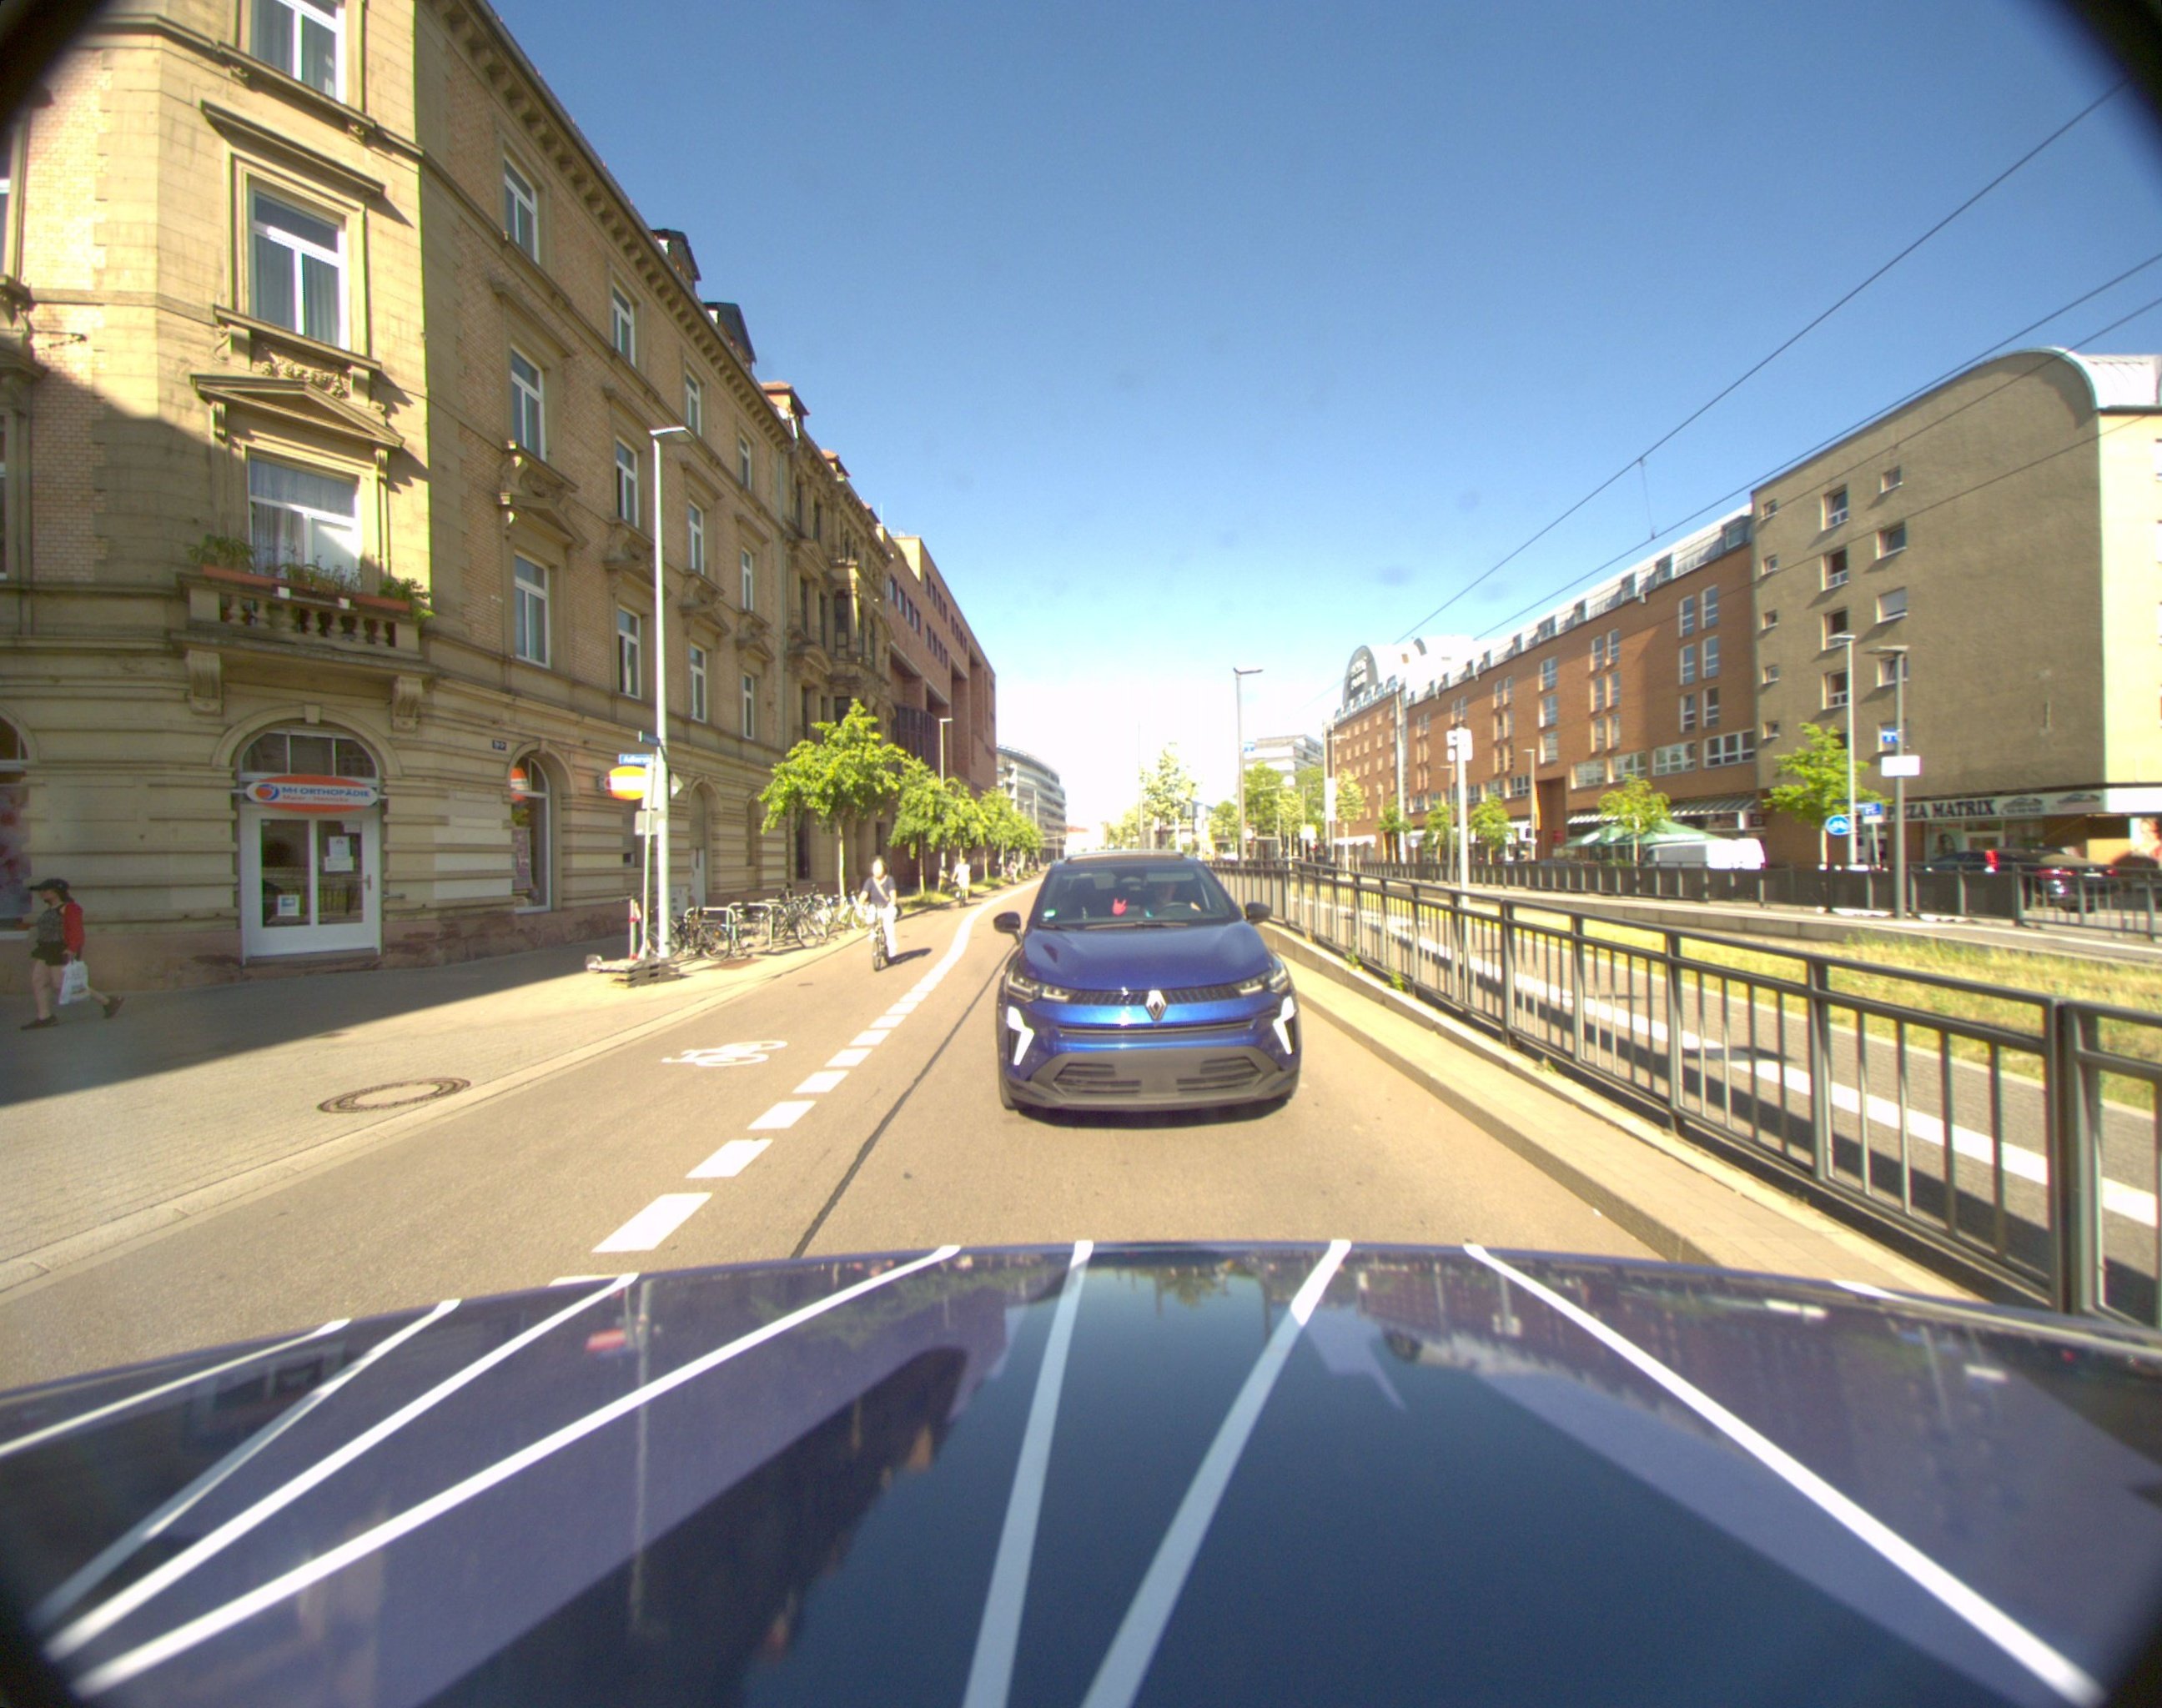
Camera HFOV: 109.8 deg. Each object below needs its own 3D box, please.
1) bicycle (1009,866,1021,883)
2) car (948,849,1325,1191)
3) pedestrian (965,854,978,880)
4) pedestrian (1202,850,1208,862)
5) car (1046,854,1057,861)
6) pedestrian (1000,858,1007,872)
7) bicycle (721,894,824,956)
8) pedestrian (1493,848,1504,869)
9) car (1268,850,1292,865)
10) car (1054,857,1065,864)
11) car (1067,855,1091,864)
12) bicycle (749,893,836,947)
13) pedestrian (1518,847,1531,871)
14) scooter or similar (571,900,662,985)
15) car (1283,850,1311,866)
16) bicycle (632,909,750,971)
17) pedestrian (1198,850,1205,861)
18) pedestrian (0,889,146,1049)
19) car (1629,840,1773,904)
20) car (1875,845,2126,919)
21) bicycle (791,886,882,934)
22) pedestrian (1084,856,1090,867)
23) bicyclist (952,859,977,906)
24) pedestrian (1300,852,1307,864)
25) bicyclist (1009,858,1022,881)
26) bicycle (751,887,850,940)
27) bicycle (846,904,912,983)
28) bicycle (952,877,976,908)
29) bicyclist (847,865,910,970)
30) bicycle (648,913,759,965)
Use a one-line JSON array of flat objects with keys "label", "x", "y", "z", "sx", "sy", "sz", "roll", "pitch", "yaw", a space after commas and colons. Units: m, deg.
[{"label": "bicycle", "x": -4.678, "y": 1.460, "z": 53.959, "sx": 0.578, "sy": 1.090, "sz": 1.507, "roll": -3, "pitch": 0, "yaw": 3}, {"label": "car", "x": 0.305, "y": 0.816, "z": 5.758, "sx": 1.802, "sy": 1.596, "sz": 3.999, "roll": -2, "pitch": 1, "yaw": 1}, {"label": "pedestrian", "x": -8.044, "y": 0.965, "z": 55.980, "sx": 0.790, "sy": 1.872, "sz": 1.106, "roll": -1, "pitch": 1, "yaw": 0}, {"label": "pedestrian", "x": 17.308, "y": 0.252, "z": 105.957, "sx": 0.608, "sy": 1.560, "sz": 0.910, "roll": -3, "pitch": 0, "yaw": 22}, {"label": "car", "x": -6.756, "y": 0.790, "z": 174.198, "sx": 1.882, "sy": 1.455, "sz": 4.001, "roll": -2, "pitch": 1, "yaw": 7}, {"label": "pedestrian", "x": -8.056, "y": 1.147, "z": 79.027, "sx": 0.633, "sy": 1.478, "sz": 0.736, "roll": -1, "pitch": 1, "yaw": 0}, {"label": "bicycle", "x": -5.926, "y": 1.353, "z": 14.638, "sx": 1.727, "sy": 1.094, "sz": 0.607, "roll": 1, "pitch": 0, "yaw": 4}, {"label": "pedestrian", "x": 35.682, "y": 0.395, "z": 64.932, "sx": 0.622, "sy": 1.830, "sz": 0.644, "roll": -1, "pitch": 1, "yaw": -1}, {"label": "car", "x": 24.757, "y": 0.443, "z": 94.669, "sx": 1.998, "sy": 1.674, "sz": 3.999, "roll": -2, "pitch": 1, "yaw": 1}, {"label": "car", "x": -5.120, "y": 1.488, "z": 181.478, "sx": 1.882, "sy": 1.455, "sz": 4.001, "roll": -2, "pitch": 1, "yaw": 7}, {"label": "car", "x": -0.407, "y": 1.061, "z": 140.611, "sx": 4.140, "sy": 1.602, "sz": 1.786, "roll": -1, "pitch": 0, "yaw": 36}, {"label": "bicycle", "x": -6.129, "y": 1.398, "z": 16.196, "sx": 1.603, "sy": 1.039, "sz": 0.607, "roll": 1, "pitch": 0, "yaw": 4}, {"label": "pedestrian", "x": 35.027, "y": 0.380, "z": 59.973, "sx": 0.622, "sy": 1.830, "sz": 0.645, "roll": -1, "pitch": 1, "yaw": 1}, {"label": "scooter or similar", "x": -6.768, "y": 1.275, "z": 11.095, "sx": 1.113, "sy": 1.183, "sz": 0.419, "roll": 0, "pitch": 0, "yaw": 8}, {"label": "car", "x": 24.209, "y": 0.442, "z": 85.313, "sx": 1.998, "sy": 1.674, "sz": 3.999, "roll": -2, "pitch": 1, "yaw": 1}, {"label": "bicycle", "x": -6.396, "y": 1.400, "z": 12.500, "sx": 1.673, "sy": 0.938, "sz": 0.607, "roll": 0, "pitch": 0, "yaw": 8}, {"label": "pedestrian", "x": 16.972, "y": 0.210, "z": 107.401, "sx": 0.729, "sy": 1.560, "sz": 0.608, "roll": -2, "pitch": 0, "yaw": -36}, {"label": "pedestrian", "x": -10.725, "y": 1.161, "z": 8.067, "sx": 0.709, "sy": 1.533, "sz": 0.929, "roll": 0, "pitch": 1, "yaw": 35}, {"label": "car", "x": 25.347, "y": 0.675, "z": 31.413, "sx": 1.997, "sy": 2.356, "sz": 5.649, "roll": -1, "pitch": 0, "yaw": 8}, {"label": "car", "x": 24.079, "y": 0.680, "z": 20.166, "sx": 1.819, "sy": 1.749, "sz": 4.000, "roll": -1, "pitch": 0, "yaw": 0}, {"label": "bicycle", "x": -6.022, "y": 1.381, "z": 18.808, "sx": 2.001, "sy": 1.086, "sz": 0.846, "roll": 1, "pitch": 0, "yaw": -9}, {"label": "pedestrian", "x": 0.846, "y": 1.037, "z": 105.665, "sx": 0.774, "sy": 1.478, "sz": 0.686, "roll": -1, "pitch": 0, "yaw": 1}, {"label": "bicyclist", "x": -4.433, "y": 1.066, "z": 28.926, "sx": 0.684, "sy": 1.718, "sz": 0.909, "roll": -3, "pitch": 0, "yaw": 3}, {"label": "pedestrian", "x": 31.574, "y": 0.581, "z": 108.015, "sx": 0.714, "sy": 1.745, "sz": 0.781, "roll": -1, "pitch": 1, "yaw": 38}, {"label": "bicyclist", "x": -4.653, "y": 1.090, "z": 53.972, "sx": 0.755, "sy": 1.607, "sz": 0.762, "roll": -3, "pitch": 0, "yaw": 4}, {"label": "bicycle", "x": -6.449, "y": 1.350, "z": 17.512, "sx": 1.999, "sy": 1.121, "sz": 0.710, "roll": 1, "pitch": 0, "yaw": 2}, {"label": "bicycle", "x": -3.112, "y": 1.352, "z": 11.824, "sx": 0.558, "sy": 1.021, "sz": 1.507, "roll": -3, "pitch": 0, "yaw": 0}, {"label": "bicycle", "x": -4.445, "y": 1.454, "z": 28.896, "sx": 0.578, "sy": 1.090, "sz": 1.507, "roll": -3, "pitch": 0, "yaw": 2}, {"label": "bicyclist", "x": -3.136, "y": 0.957, "z": 11.857, "sx": 0.659, "sy": 1.528, "sz": 0.909, "roll": -3, "pitch": 0, "yaw": 0}, {"label": "bicycle", "x": -6.525, "y": 1.464, "z": 13.169, "sx": 1.673, "sy": 0.816, "sz": 0.607, "roll": 0, "pitch": 0, "yaw": 7}]
